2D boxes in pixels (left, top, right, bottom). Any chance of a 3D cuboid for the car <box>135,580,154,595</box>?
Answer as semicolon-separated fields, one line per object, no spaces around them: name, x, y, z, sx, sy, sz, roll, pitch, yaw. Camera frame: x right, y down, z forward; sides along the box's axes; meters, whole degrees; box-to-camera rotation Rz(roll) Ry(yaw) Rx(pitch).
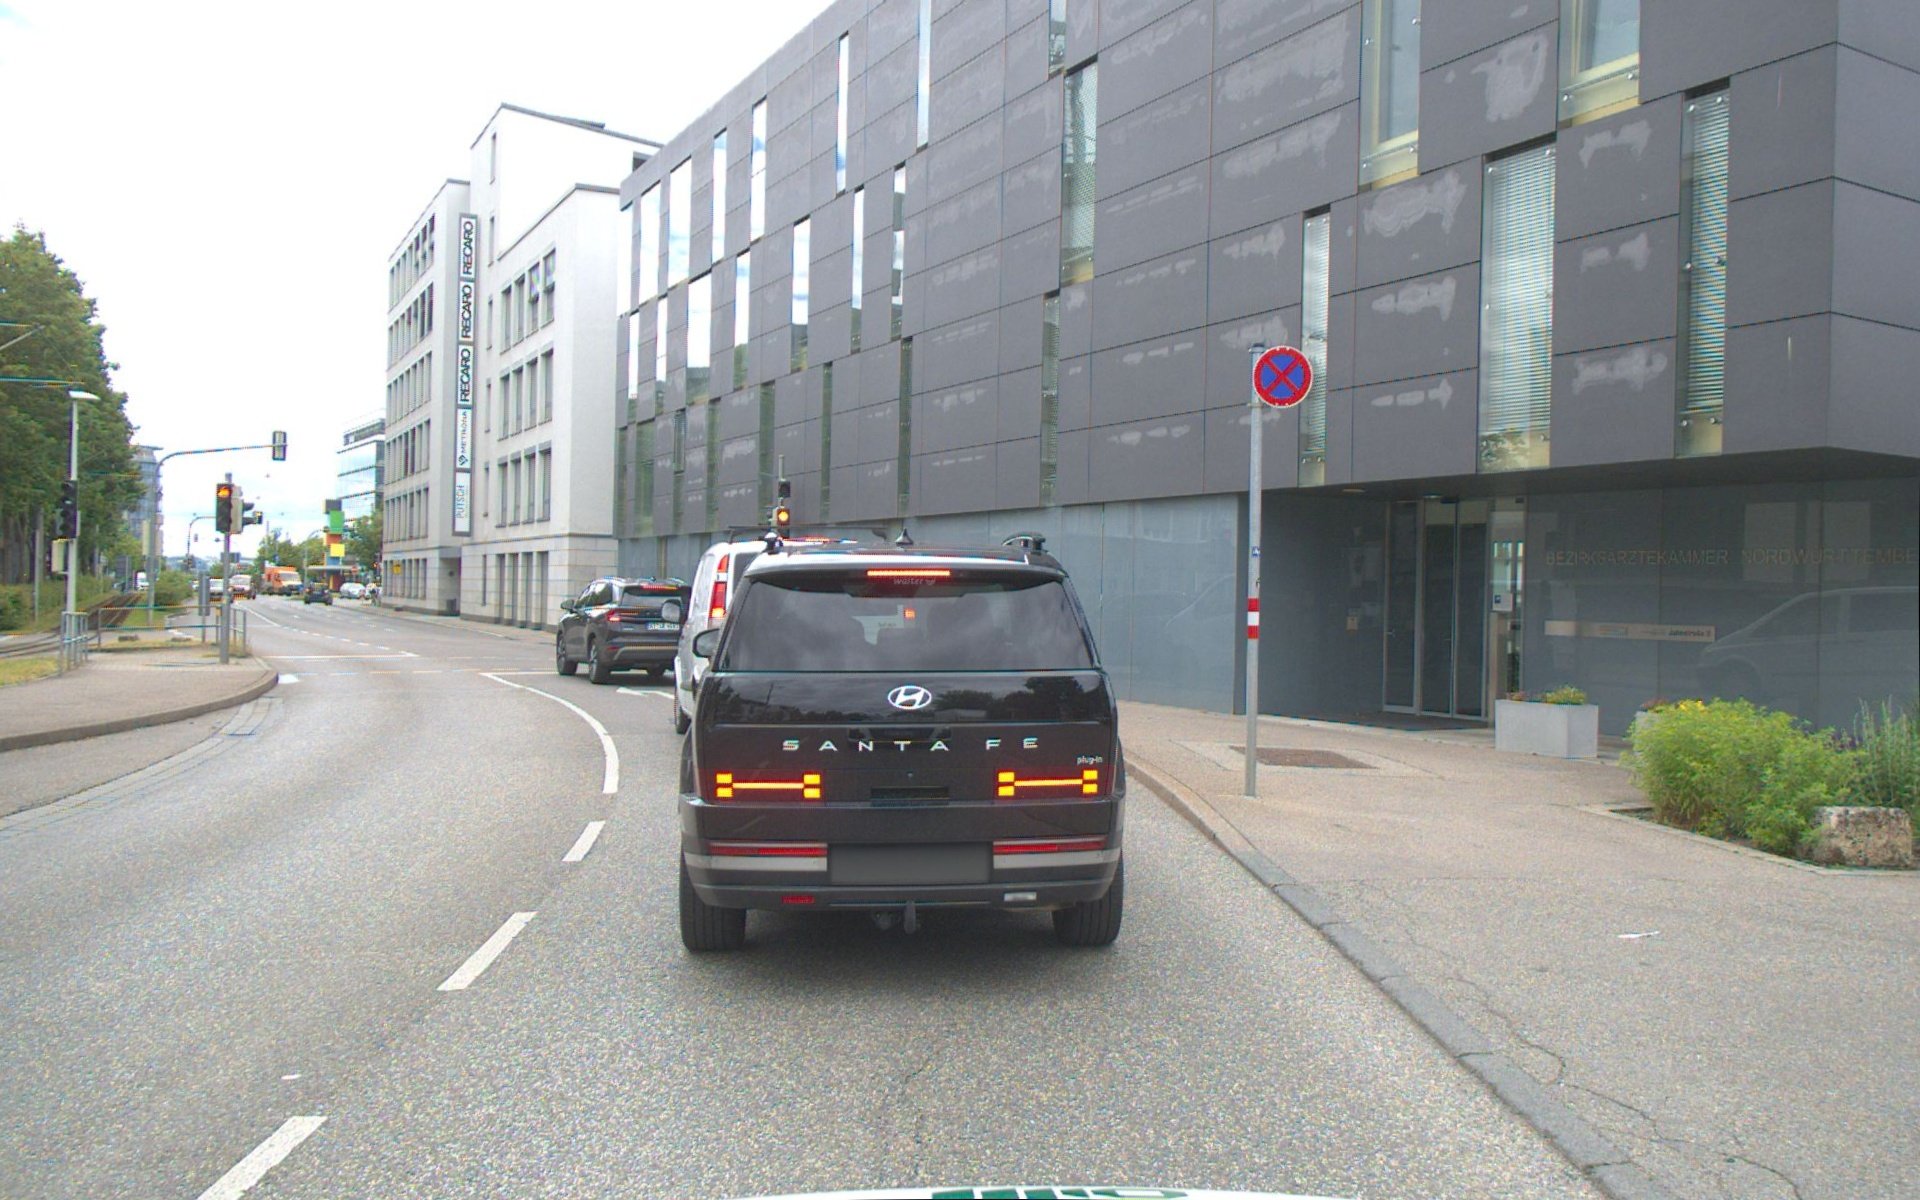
car;-109.312;-1.694;221.706;1.897;1.755;4.125;3;0;-32

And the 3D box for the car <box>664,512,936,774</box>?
car;-1.651;0.323;15.468;1.825;2.069;4.419;1;1;-15

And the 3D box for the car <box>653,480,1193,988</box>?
car;-0.257;0.482;8.052;1.877;1.755;4.167;3;0;-4

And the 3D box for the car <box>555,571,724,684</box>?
car;-5.364;0.419;27.266;1.824;1.706;4.342;0;0;-24

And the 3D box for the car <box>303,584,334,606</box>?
car;-46.162;-0.384;119.143;1.870;1.512;3.979;1;0;-19

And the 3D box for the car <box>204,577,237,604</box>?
car;-48.038;-0.621;107.526;1.826;1.725;3.972;1;0;-23

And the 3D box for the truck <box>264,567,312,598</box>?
truck;-63.401;-1.647;155.981;2.554;2.874;6.898;1;0;-37

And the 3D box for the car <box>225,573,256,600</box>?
car;-53.480;-0.989;123.005;1.824;1.956;3.977;1;0;-20
